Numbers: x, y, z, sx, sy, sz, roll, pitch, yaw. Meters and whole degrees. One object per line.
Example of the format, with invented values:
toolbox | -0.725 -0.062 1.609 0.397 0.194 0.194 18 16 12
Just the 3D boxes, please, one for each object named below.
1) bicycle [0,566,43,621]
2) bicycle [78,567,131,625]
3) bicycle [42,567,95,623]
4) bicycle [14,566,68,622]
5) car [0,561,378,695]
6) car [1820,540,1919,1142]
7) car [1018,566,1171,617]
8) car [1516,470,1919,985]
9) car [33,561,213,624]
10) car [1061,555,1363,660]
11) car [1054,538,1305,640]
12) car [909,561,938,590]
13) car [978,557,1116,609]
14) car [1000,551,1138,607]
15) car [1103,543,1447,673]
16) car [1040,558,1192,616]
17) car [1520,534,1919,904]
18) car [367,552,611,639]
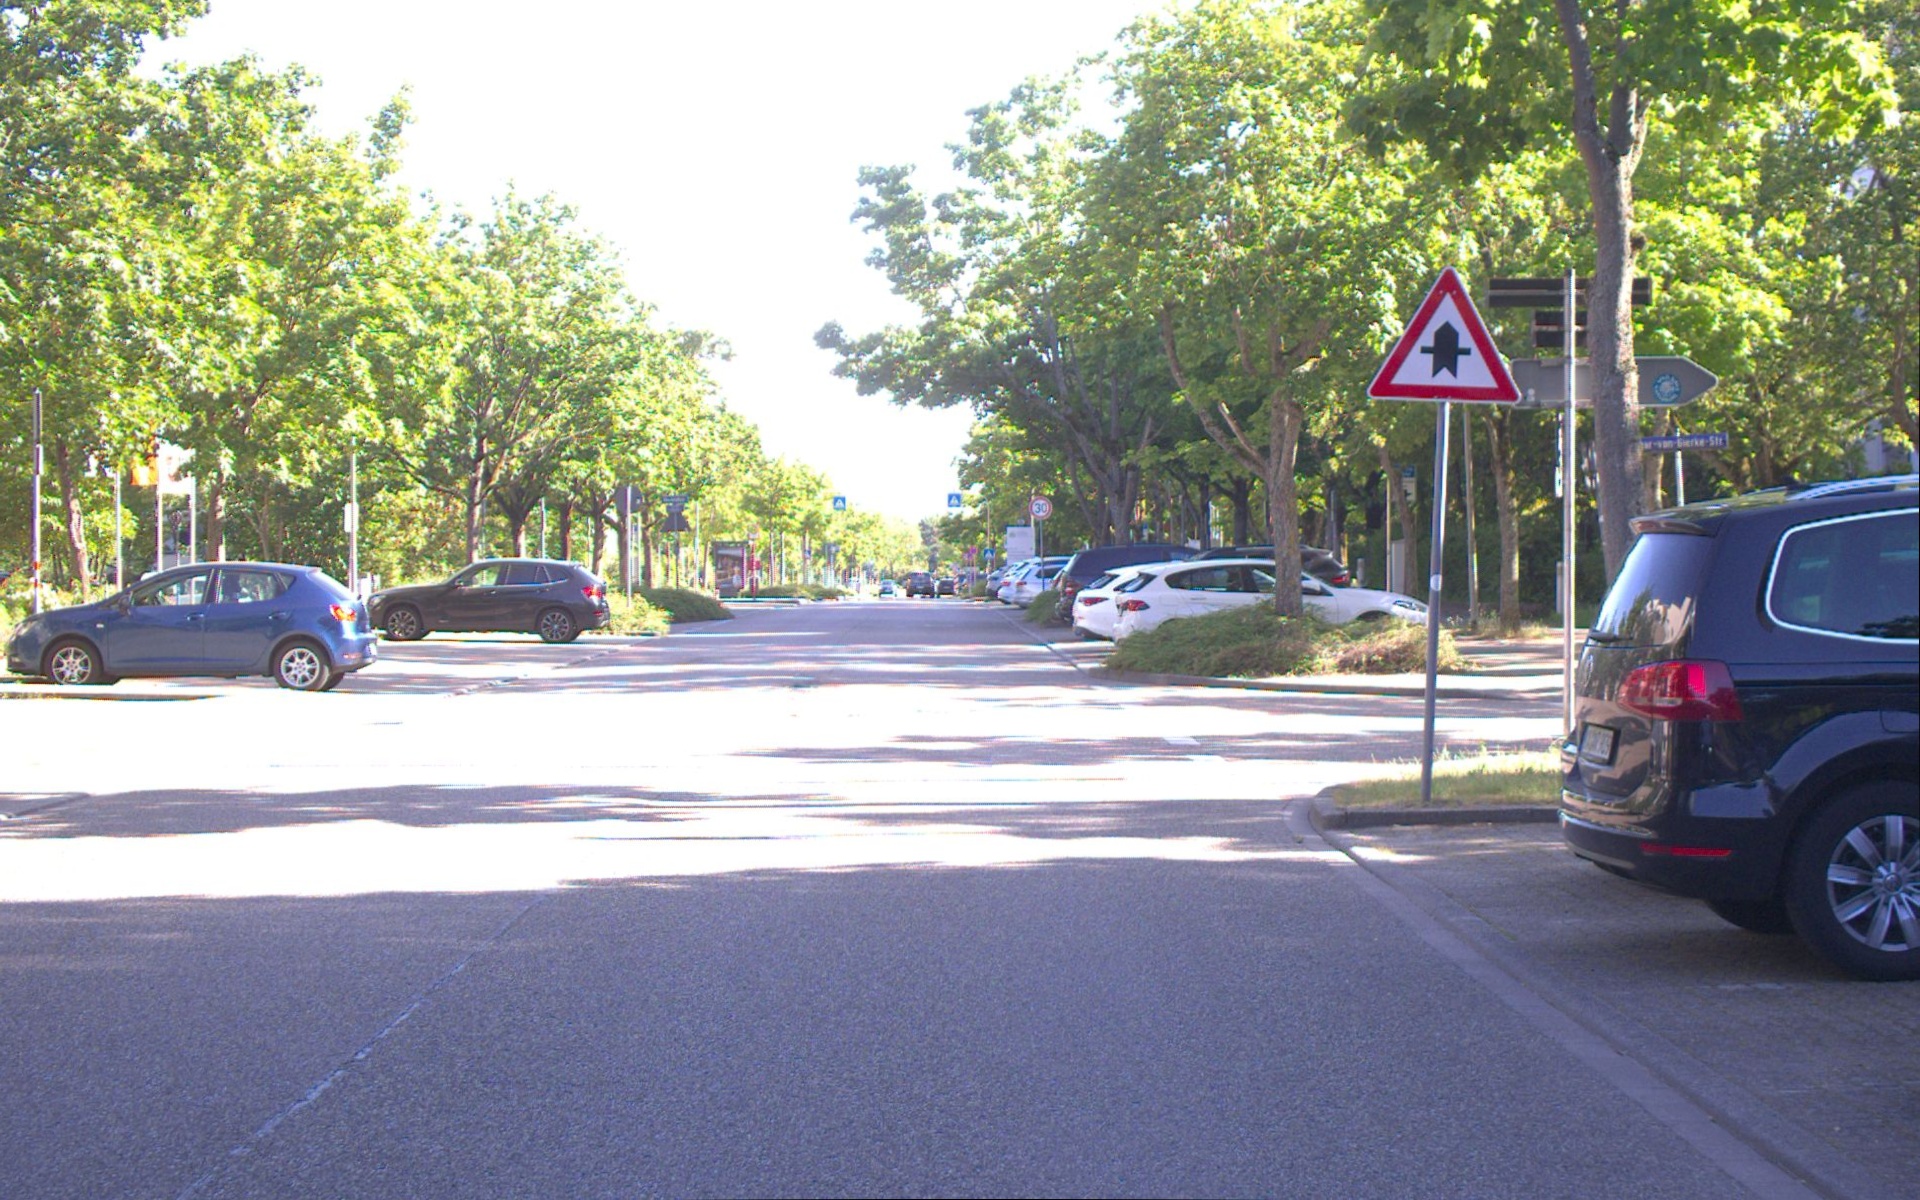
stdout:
bicycle | -17.990 -0.130 65.497 0.437 1.044 2.193 1 0 0
bicycle | -15.901 -0.081 63.965 0.437 1.044 2.193 1 0 0
bicycle | -16.977 -0.095 65.473 0.437 1.044 2.193 1 0 0
bicycle | -17.496 -0.114 65.481 0.437 1.044 2.193 1 0 0
car | -8.585 0.300 38.205 3.986 1.407 1.817 1 0 -4
car | 4.418 0.584 8.843 3.869 1.560 1.810 -1 0 -5
car | 3.828 -0.248 97.755 4.275 1.423 1.827 0 0 4
car | 4.015 0.406 12.630 3.672 1.745 1.724 -1 0 2
car | -21.012 -0.189 86.426 4.077 1.446 1.625 -2 0 1
car | 3.855 0.110 53.113 4.441 1.540 1.818 1 0 -3
car | 4.124 -0.210 65.178 4.587 1.773 2.000 -2 0 0
car | -2.629 -1.764 247.128 1.993 2.007 4.000 1 0 0
car | 2.801 -0.559 111.624 4.342 1.484 1.738 -2 0 -2
car | 3.607 -0.707 114.325 4.435 1.642 1.816 -3 1 -2
car | 4.273 0.104 47.086 4.426 1.587 1.837 -2 0 -3
car | 4.205 -0.363 92.918 3.987 1.446 1.717 -2 1 0
car | 4.622 0.440 15.486 3.834 1.441 1.592 -3 2 -3
car | -8.571 -0.089 62.792 4.192 1.515 1.772 1 0 0
